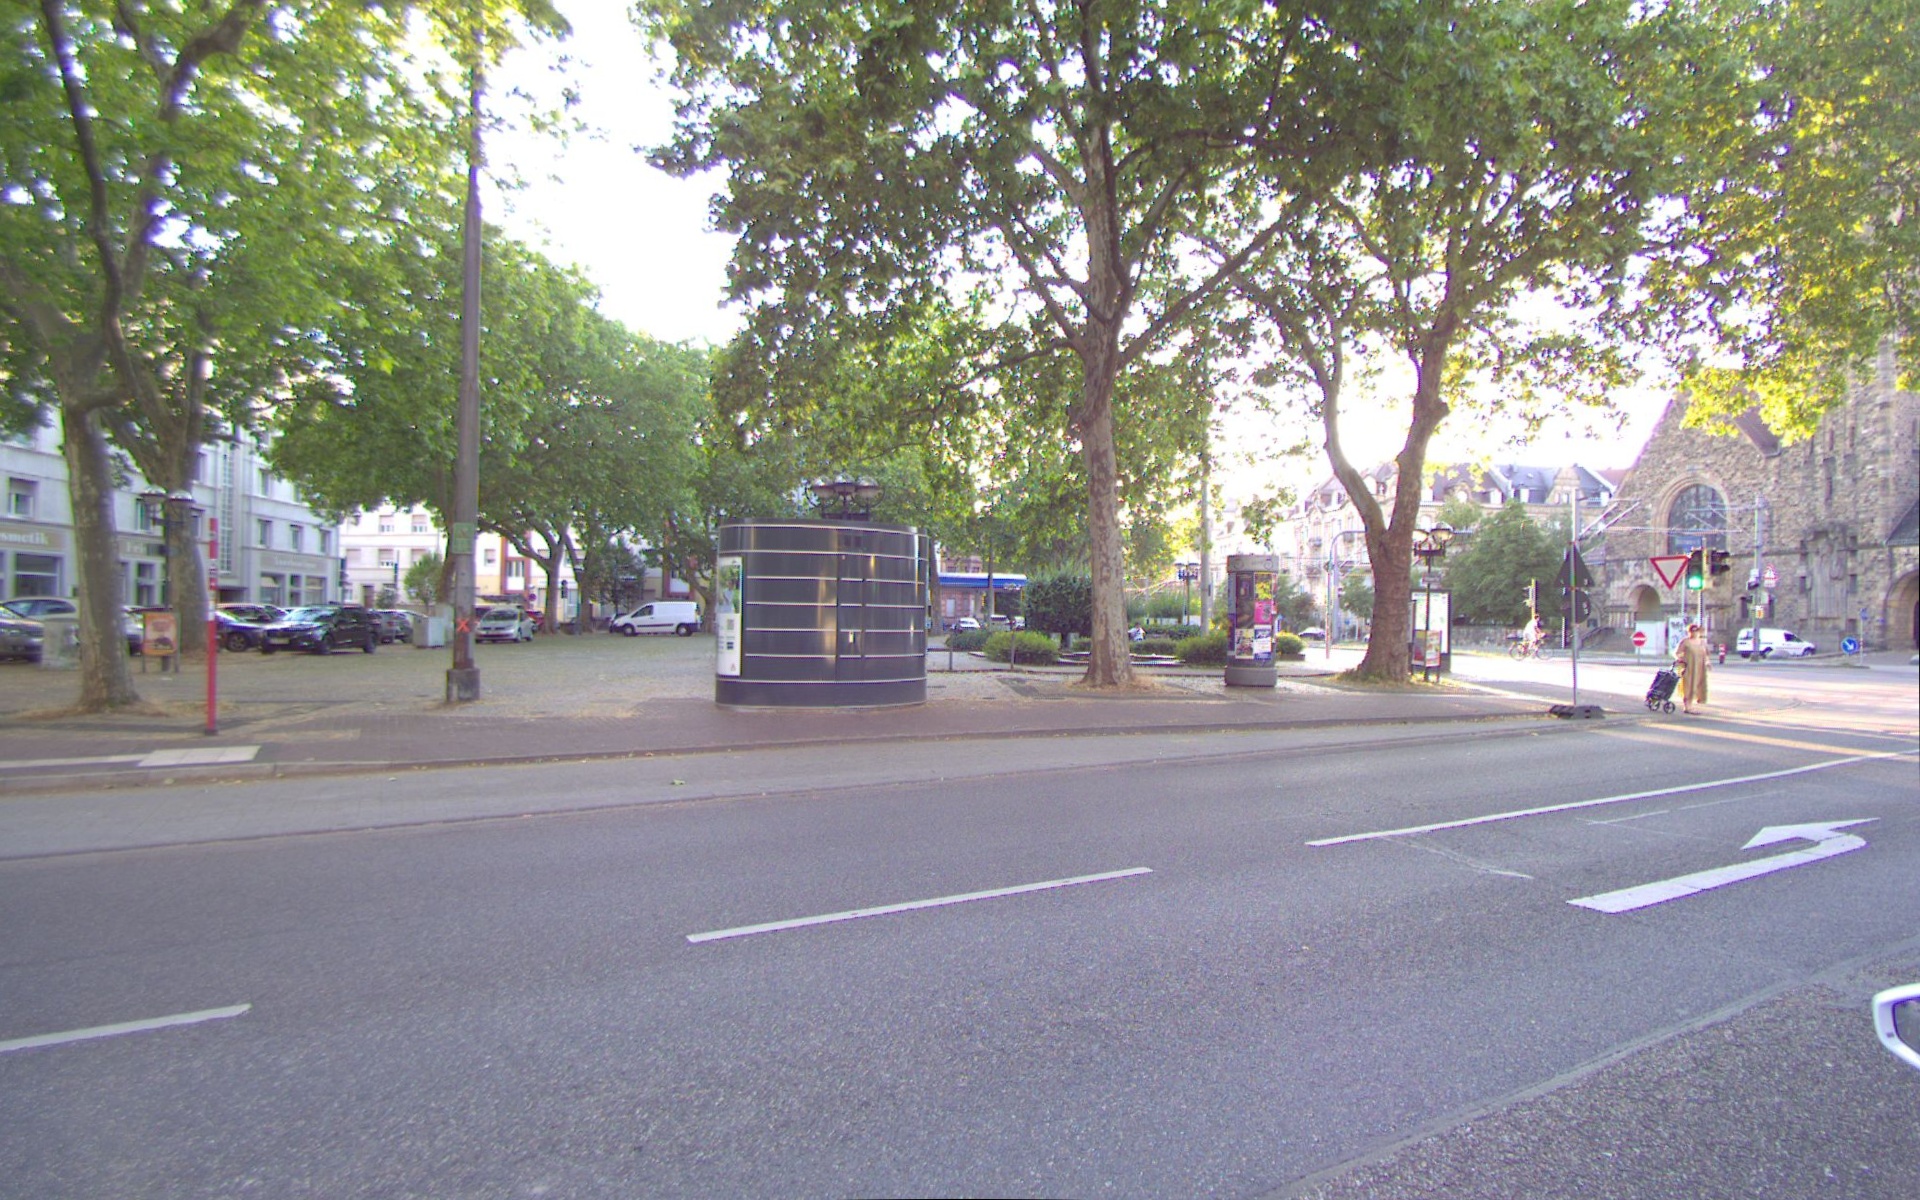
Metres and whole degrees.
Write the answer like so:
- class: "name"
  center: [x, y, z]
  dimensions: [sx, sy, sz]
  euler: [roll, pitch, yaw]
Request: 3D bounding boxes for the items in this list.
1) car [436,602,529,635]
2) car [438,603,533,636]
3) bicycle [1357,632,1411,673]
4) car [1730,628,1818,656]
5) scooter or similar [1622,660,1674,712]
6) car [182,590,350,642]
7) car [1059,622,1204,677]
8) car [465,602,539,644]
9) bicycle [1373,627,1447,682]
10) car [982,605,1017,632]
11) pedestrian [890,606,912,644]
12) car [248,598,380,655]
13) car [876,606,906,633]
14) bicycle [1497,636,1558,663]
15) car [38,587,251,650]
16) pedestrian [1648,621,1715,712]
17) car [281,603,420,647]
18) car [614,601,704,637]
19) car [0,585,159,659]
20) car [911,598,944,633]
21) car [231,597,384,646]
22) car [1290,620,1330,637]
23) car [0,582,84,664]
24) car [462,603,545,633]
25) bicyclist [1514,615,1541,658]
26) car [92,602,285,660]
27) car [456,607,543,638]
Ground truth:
- class: "car"
  center: [-27.184, 1.051, 57.301]
  dimensions: [4.578, 1.834, 1.992]
  euler: [0, -2, -20]
- class: "car"
  center: [-25.989, 1.063, 55.200]
  dimensions: [4.572, 1.758, 1.990]
  euler: [0, -2, -22]
- class: "bicycle"
  center: [11.938, 1.468, 28.264]
  dimensions: [1.780, 1.107, 0.455]
  euler: [2, 0, -33]
- class: "car"
  center: [50.958, 2.604, 62.914]
  dimensions: [4.372, 1.537, 1.718]
  euler: [2, 0, -6]
- class: "scooter or similar"
  center: [12.876, 1.598, 18.791]
  dimensions: [0.845, 0.910, 0.586]
  euler: [2, 0, -41]
- class: "car"
  center: [-25.106, 0.595, 36.517]
  dimensions: [4.557, 1.805, 2.090]
  euler: [0, -2, -10]
- class: "car"
  center: [5.852, 1.688, 34.670]
  dimensions: [4.552, 1.805, 1.999]
  euler: [-1, -2, -5]
- class: "car"
  center: [-19.792, 0.986, 43.585]
  dimensions: [1.642, 1.684, 3.760]
  euler: [2, 0, -4]
- class: "bicycle"
  center: [11.324, 1.372, 25.237]
  dimensions: [1.967, 1.344, 0.523]
  euler: [2, 0, -26]
- class: "car"
  center: [2.848, 1.312, 73.319]
  dimensions: [1.882, 1.873, 3.995]
  euler: [2, 0, -7]
- class: "pedestrian"
  center: [-2.719, 1.151, 46.244]
  dimensions: [0.869, 1.694, 0.740]
  euler: [2, 0, -8]
- class: "car"
  center: [-19.222, 0.796, 30.104]
  dimensions: [1.642, 1.549, 3.760]
  euler: [2, -2, -4]
- class: "car"
  center: [-5.017, 1.377, 72.317]
  dimensions: [1.882, 1.873, 3.995]
  euler: [2, 0, -7]
- class: "bicycle"
  center: [24.847, 2.158, 43.982]
  dimensions: [2.199, 1.092, 0.659]
  euler: [1, 3, 9]
- class: "car"
  center: [-24.453, 0.554, 30.294]
  dimensions: [4.557, 1.805, 1.997]
  euler: [0, -2, -10]
- class: "pedestrian"
  center: [13.729, 1.247, 19.111]
  dimensions: [0.766, 1.649, 0.796]
  euler: [2, 0, -35]
- class: "car"
  center: [-25.502, 1.036, 42.169]
  dimensions: [4.557, 1.758, 1.997]
  euler: [0, -2, -10]
- class: "car"
  center: [-16.857, 1.082, 56.445]
  dimensions: [4.557, 1.964, 1.997]
  euler: [0, -2, -10]
- class: "car"
  center: [-23.682, 0.574, 25.695]
  dimensions: [4.557, 1.805, 1.997]
  euler: [0, -2, -10]
- class: "car"
  center: [-2.377, 1.123, 72.562]
  dimensions: [1.963, 2.374, 3.995]
  euler: [2, 0, -7]
- class: "car"
  center: [-25.296, 0.831, 39.104]
  dimensions: [4.557, 1.805, 1.997]
  euler: [0, -2, -10]
- class: "car"
  center: [35.110, 2.862, 100.852]
  dimensions: [1.965, 1.639, 3.991]
  euler: [2, -2, -12]
- class: "car"
  center: [-23.123, 0.562, 22.725]
  dimensions: [4.557, 1.805, 1.997]
  euler: [0, -2, -10]
- class: "car"
  center: [-28.281, 1.108, 62.354]
  dimensions: [4.572, 1.758, 1.990]
  euler: [0, -2, -22]
- class: "bicyclist"
  center: [24.849, 1.579, 43.997]
  dimensions: [0.842, 1.852, 0.659]
  euler: [1, 1, 10]
- class: "car"
  center: [-25.114, 1.008, 32.873]
  dimensions: [4.557, 1.758, 1.997]
  euler: [0, -2, -10]
- class: "car"
  center: [-27.385, 1.333, 59.932]
  dimensions: [4.572, 1.758, 1.990]
  euler: [0, -2, -22]
